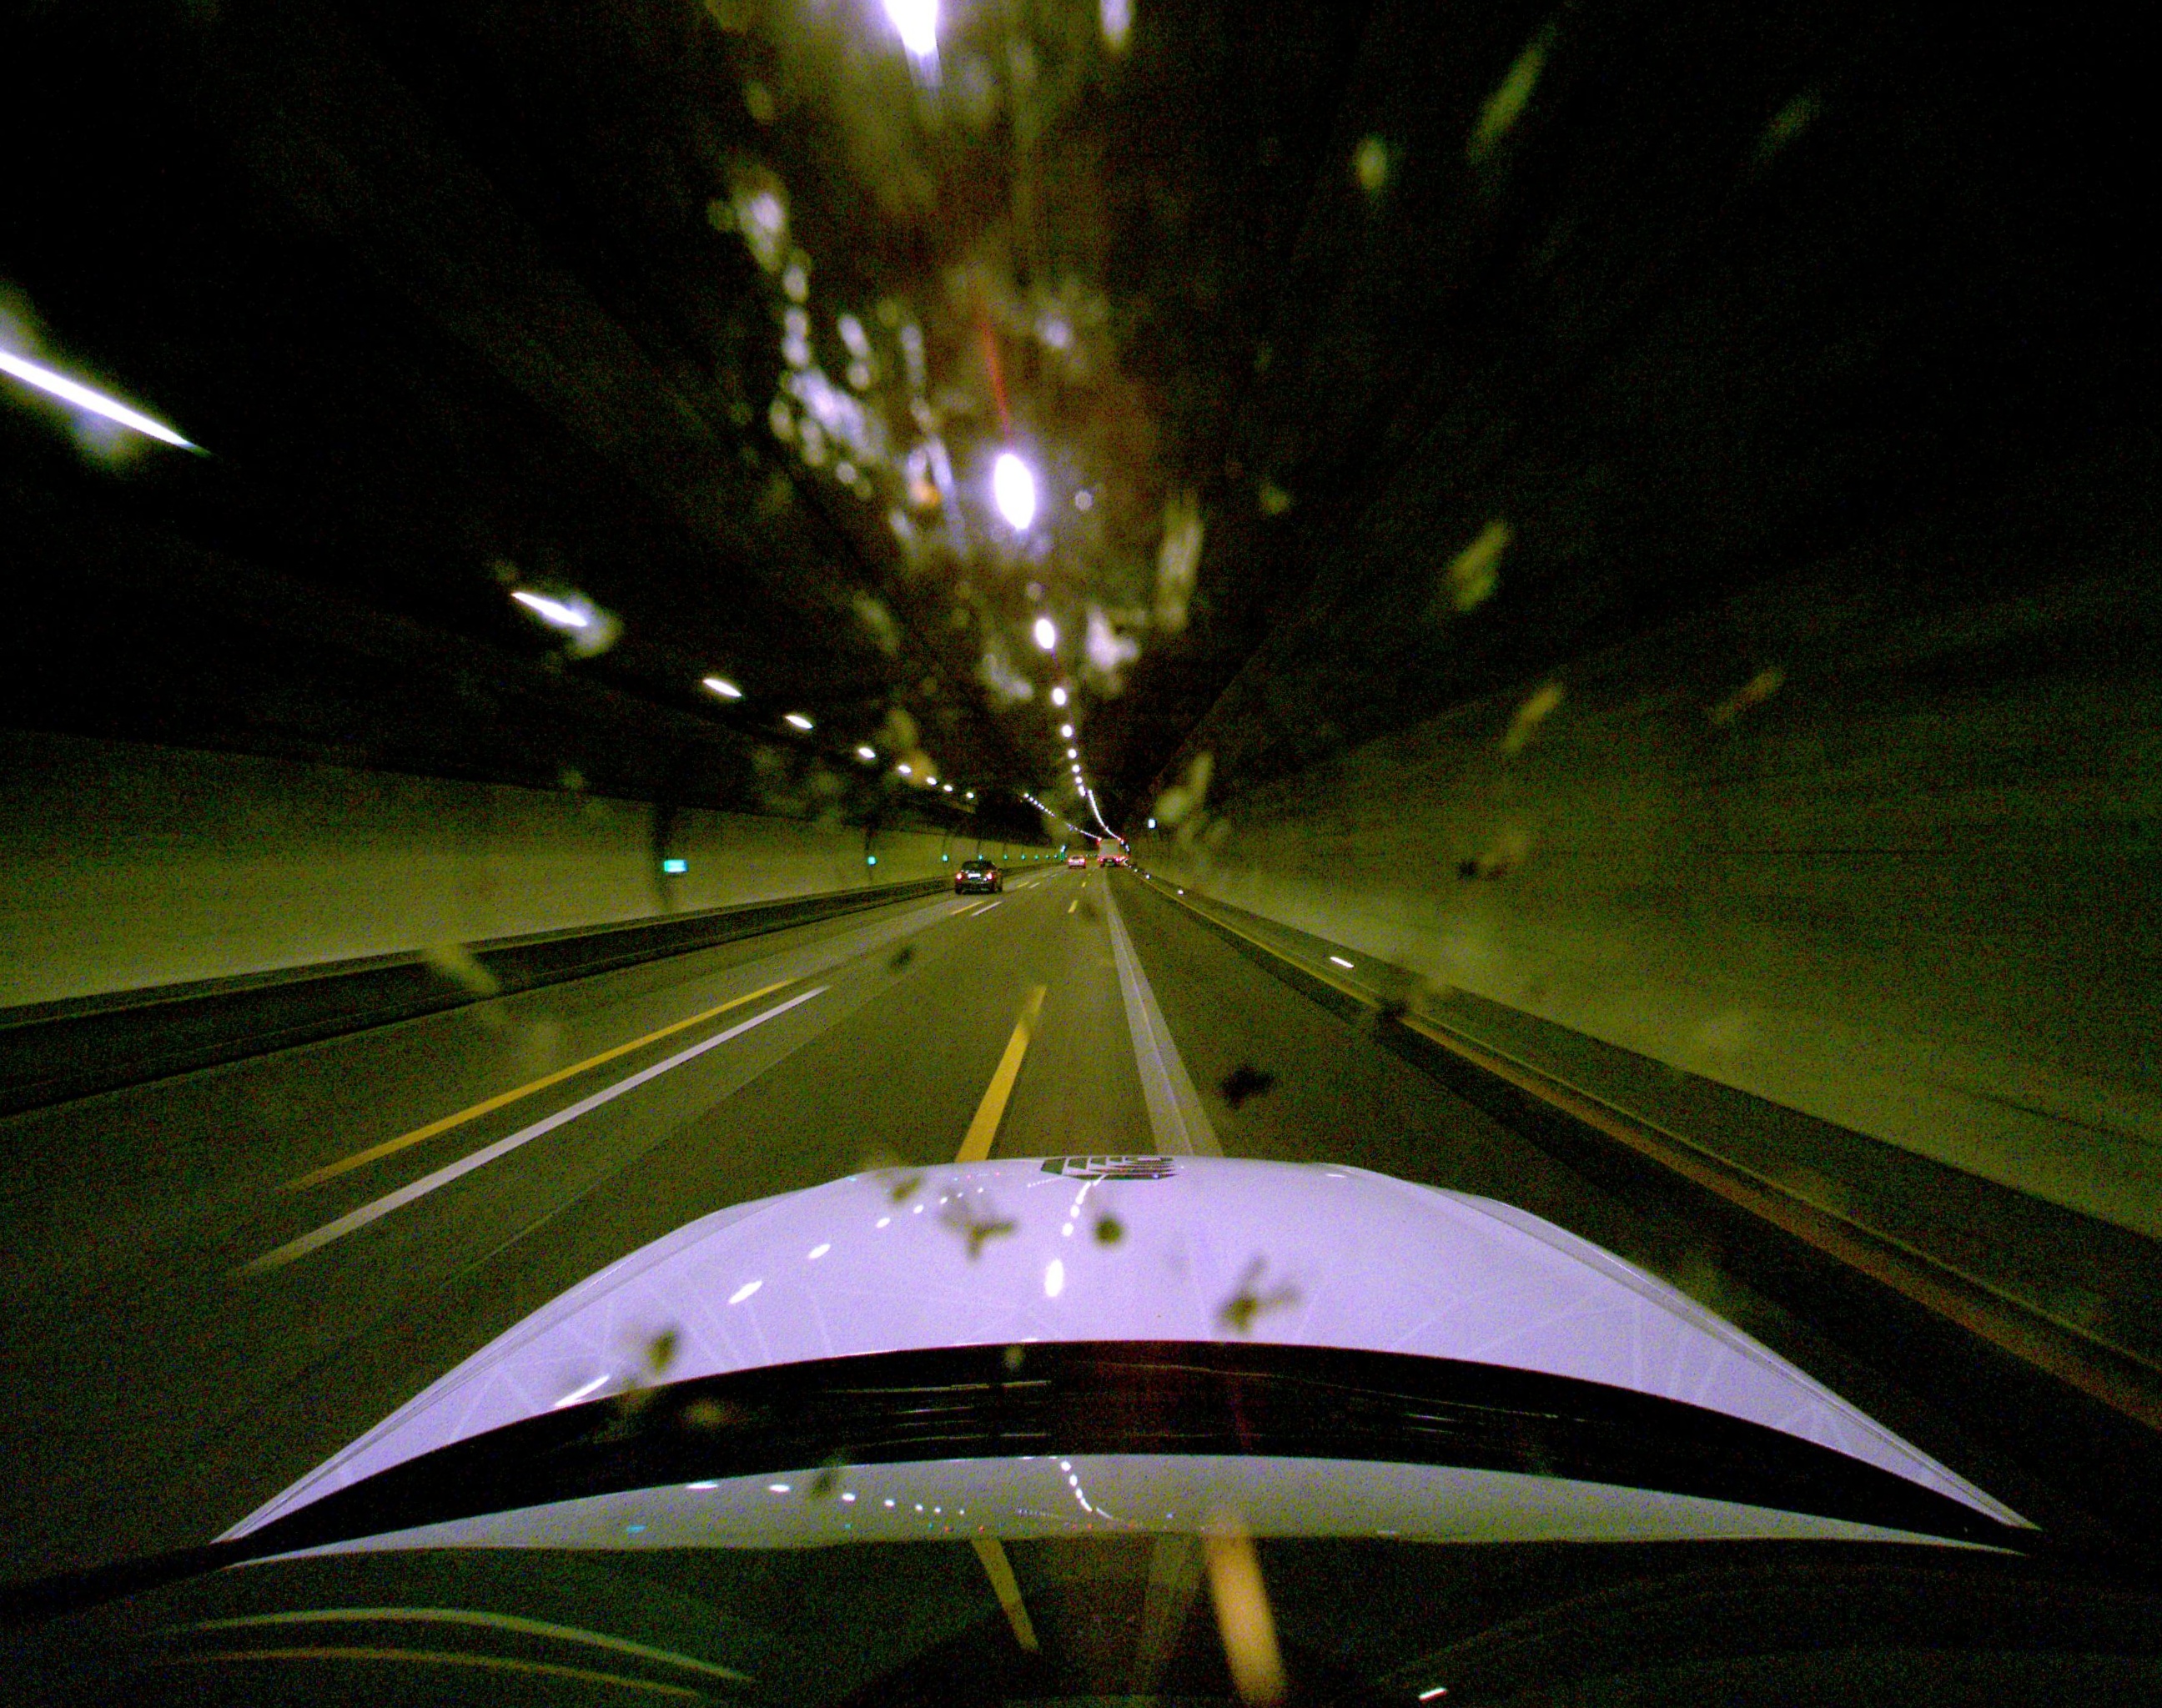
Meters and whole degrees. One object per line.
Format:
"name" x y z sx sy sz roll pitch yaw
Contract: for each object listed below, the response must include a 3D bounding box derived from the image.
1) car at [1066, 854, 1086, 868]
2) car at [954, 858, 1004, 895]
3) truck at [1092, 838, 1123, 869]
"car" -0.569 0.744 88.319 1.988 1.413 4.740 -2 0 -1
"car" -4.337 0.930 35.066 1.684 1.417 3.921 -1 0 -1
"truck" 3.410 -0.079 102.797 3.578 3.650 10.728 -2 0 2
